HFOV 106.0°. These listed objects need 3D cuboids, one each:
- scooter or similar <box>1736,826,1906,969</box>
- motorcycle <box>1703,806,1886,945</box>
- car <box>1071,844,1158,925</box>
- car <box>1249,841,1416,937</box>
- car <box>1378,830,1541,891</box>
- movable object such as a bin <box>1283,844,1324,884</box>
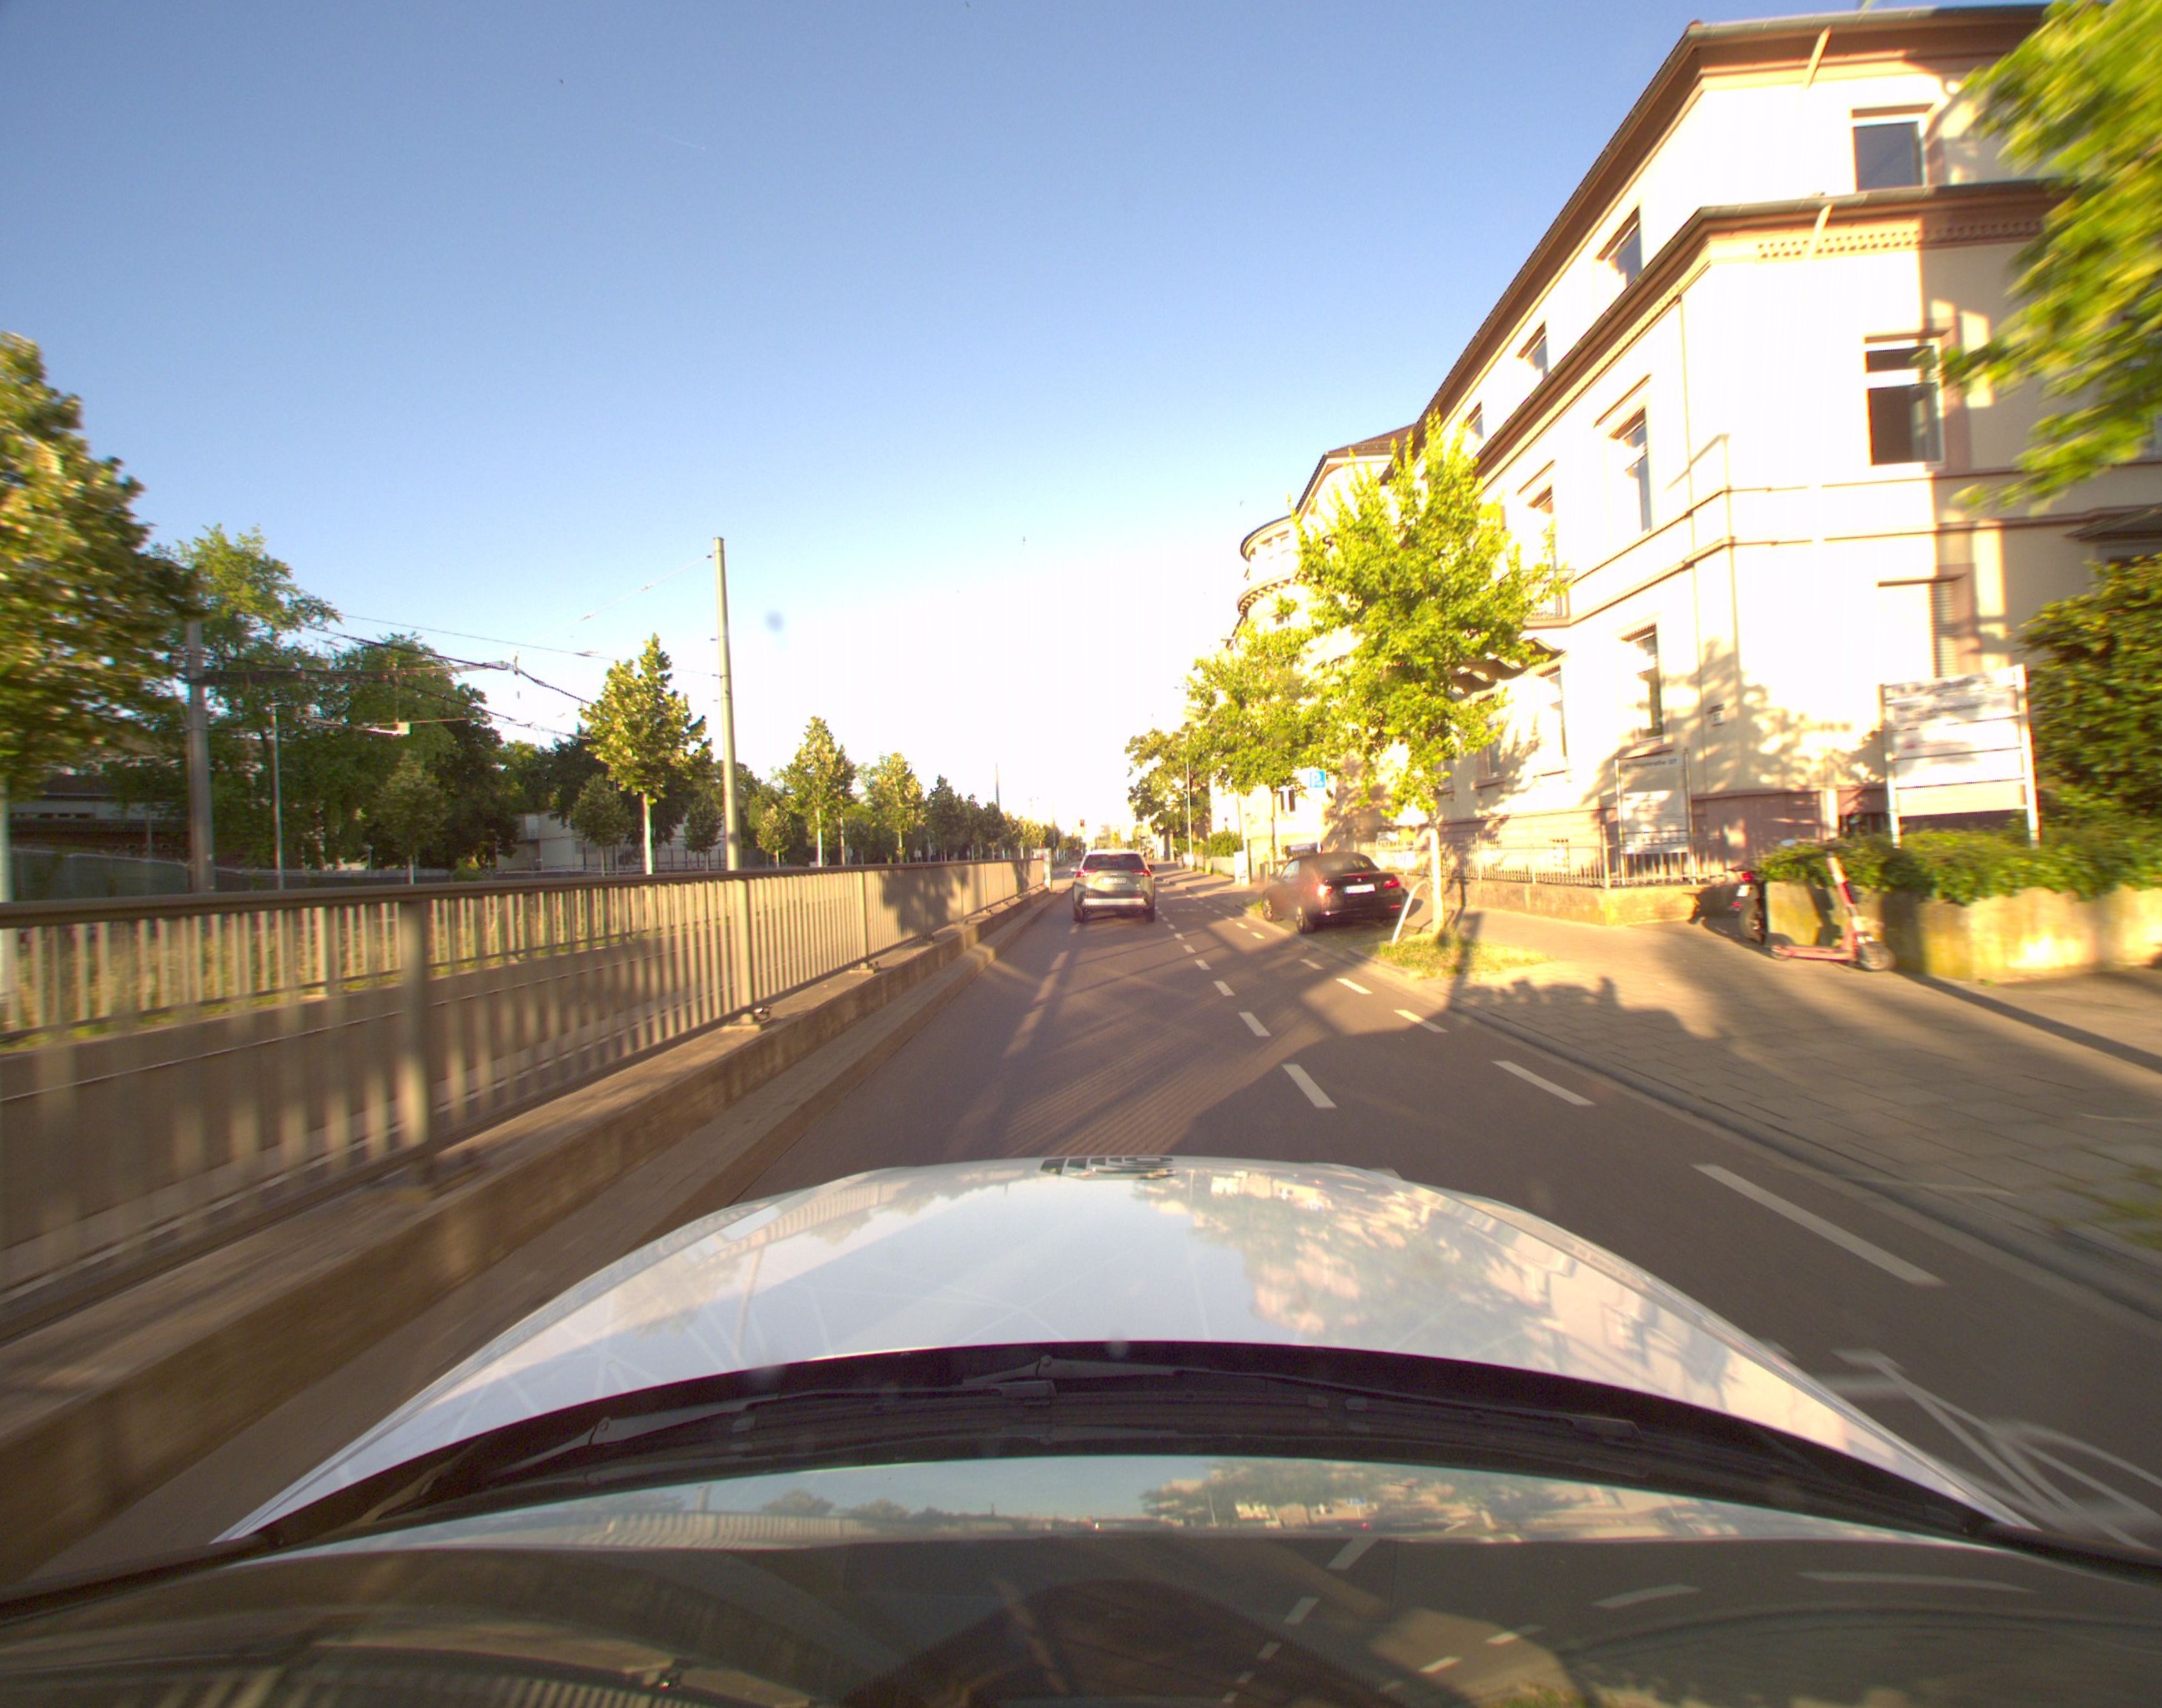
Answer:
[{"bbox_3d":[7.072,0.394,7.851,0.489,1.258,1.208,-1,-1,-1],"label":"scooter or similar"},{"bbox_3d":[8.081,0.229,9.263,1.492,1.413,0.626,-5,1,-2],"label":"motorcycle"},{"bbox_3d":[0.729,0.657,19.590,1.852,1.714,4.192,-1,0,0],"label":"car"},{"bbox_3d":[4.750,0.597,16.119,1.787,1.471,4.443,-6,0,-1],"label":"car"},{"bbox_3d":[11.817,0.197,25.663,4.176,1.571,1.919,-4,0,4],"label":"car"},{"bbox_3d":[8.696,0.389,31.873,1.256,1.462,1.123,-2,0,-1],"label":"movable object such as a bin"}]
